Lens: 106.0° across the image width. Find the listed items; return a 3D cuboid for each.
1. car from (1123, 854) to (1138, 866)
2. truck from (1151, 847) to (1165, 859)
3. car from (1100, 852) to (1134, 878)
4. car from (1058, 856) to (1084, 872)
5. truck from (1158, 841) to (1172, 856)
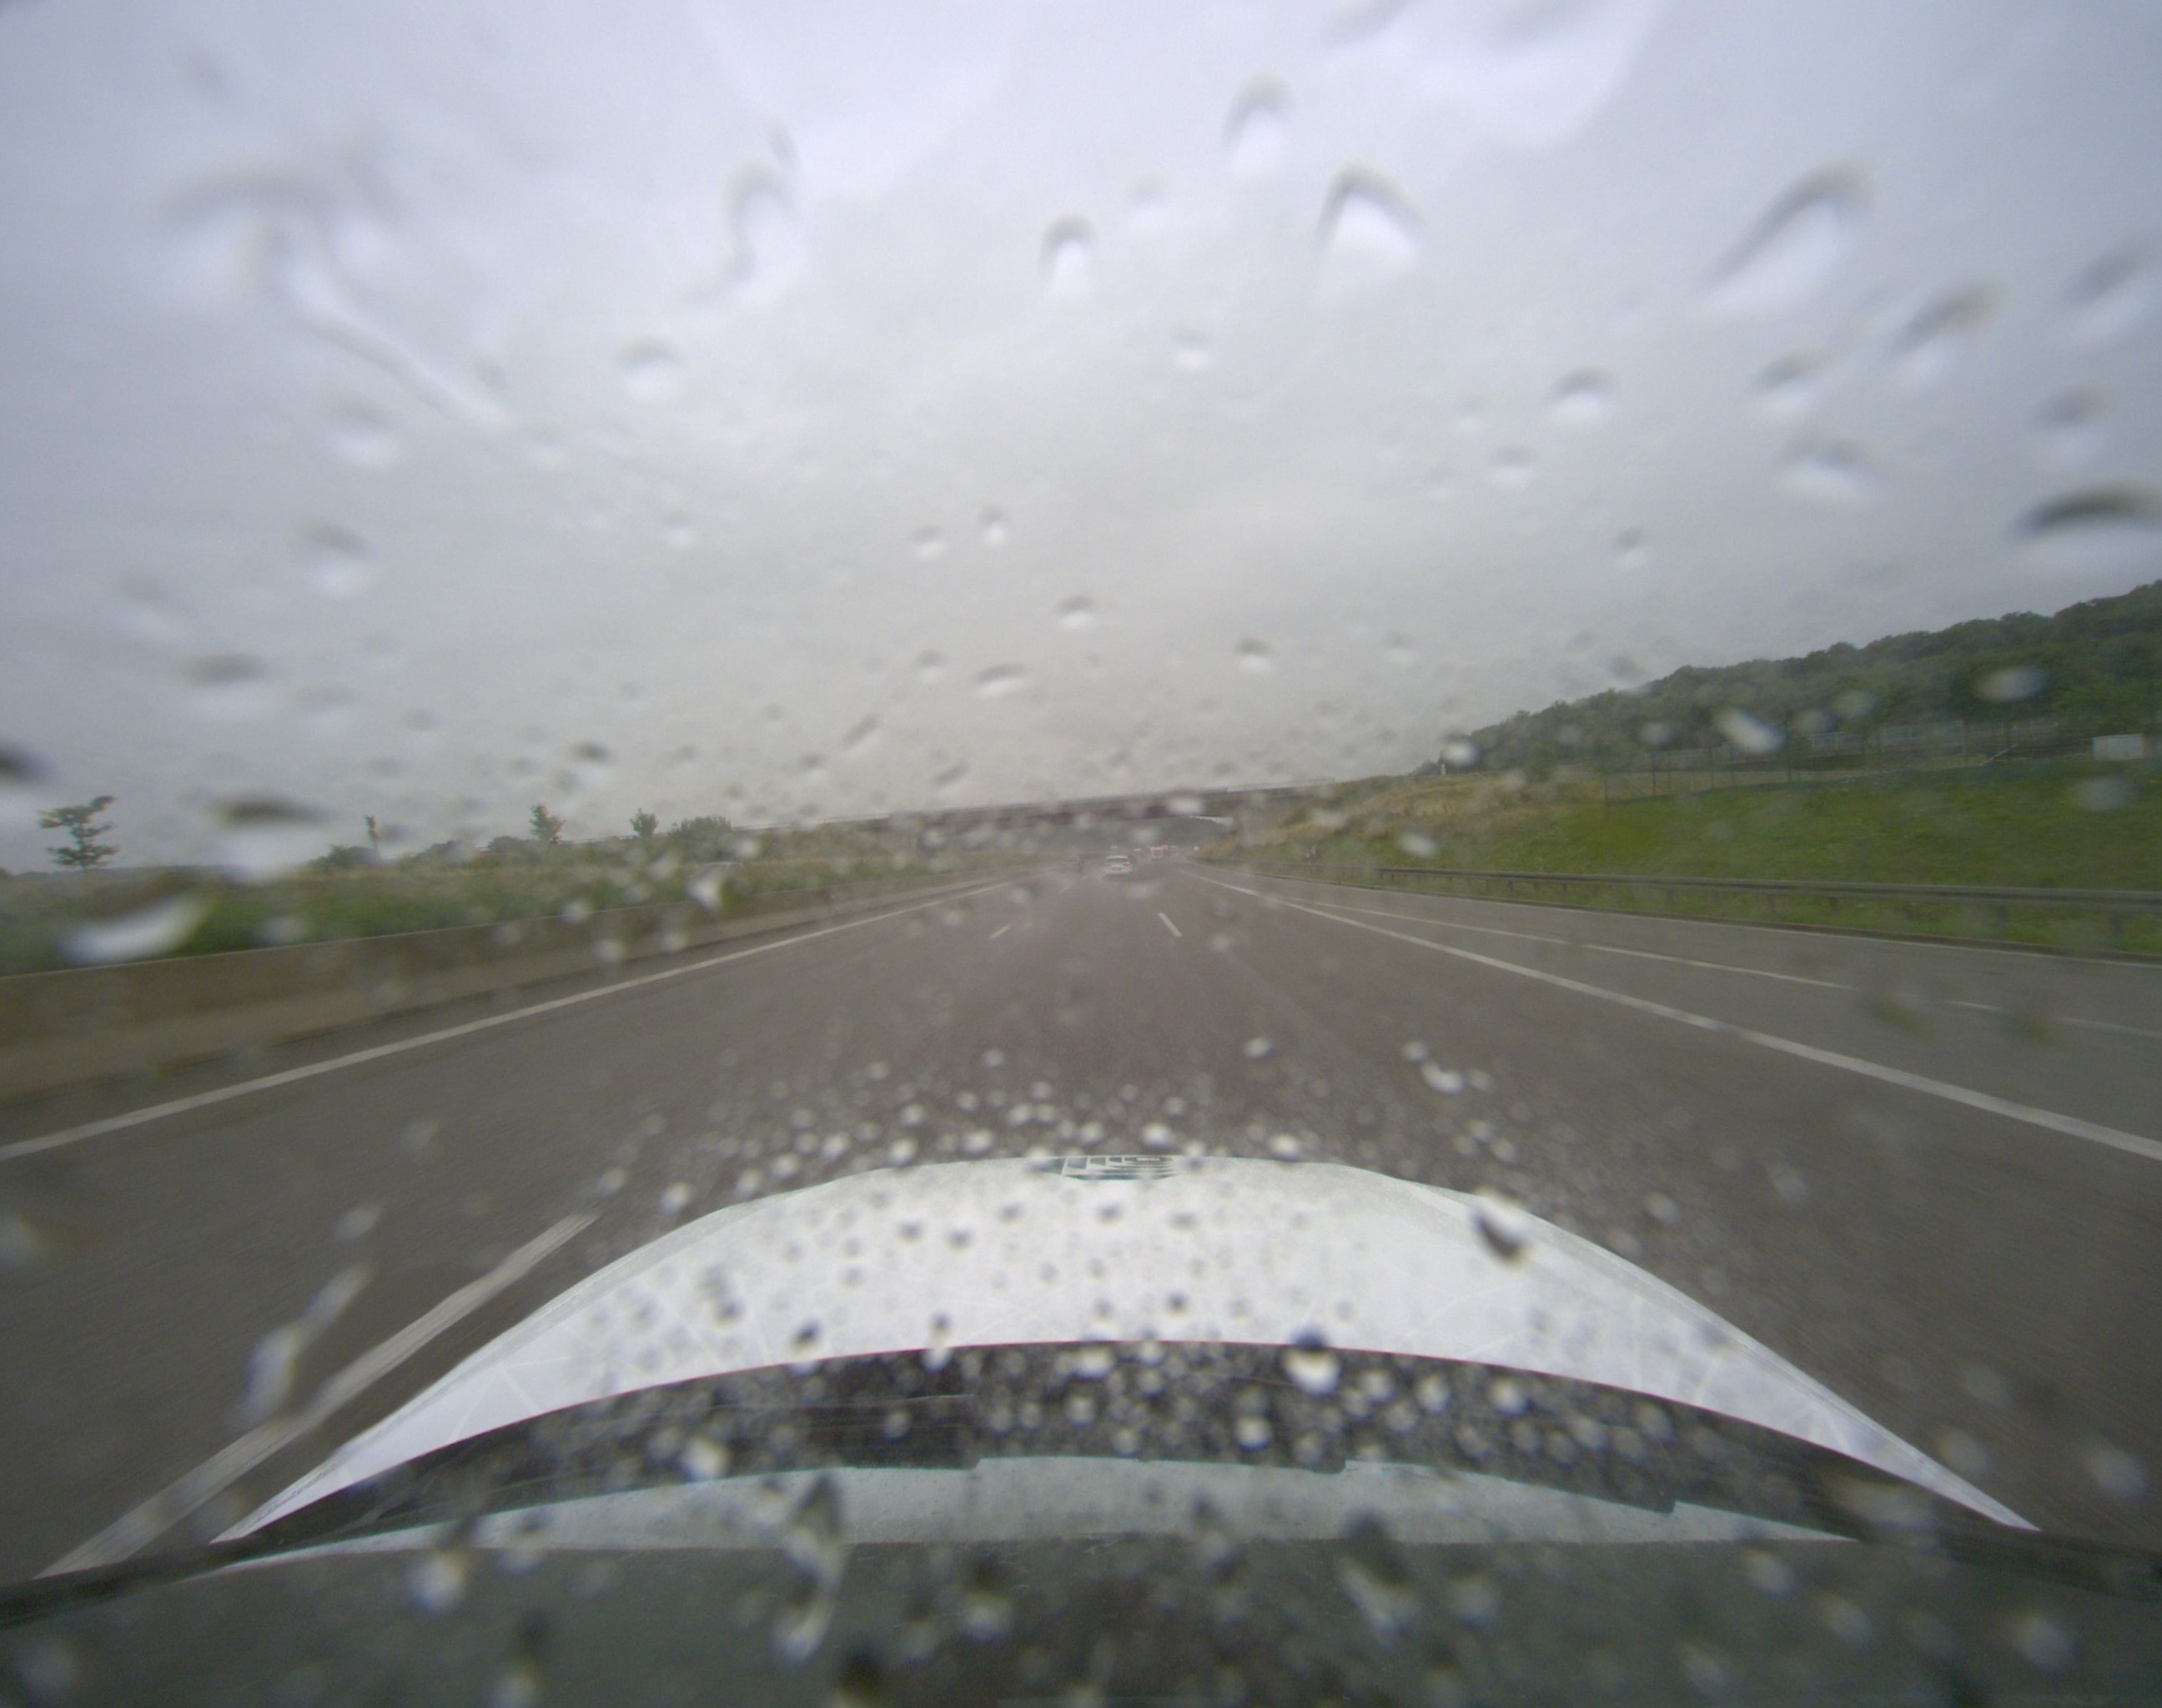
[{"bbox_3d":[7.028,0.782,114.958,1.983,1.618,4.007,-1,0,6],"label":"car"},{"bbox_3d":[14.850,-0.153,157.346,2.394,2.252,4.703,-1,0,8],"label":"truck"},{"bbox_3d":[2.121,0.628,48.694,1.861,1.463,3.999,-1,-1,0],"label":"car"},{"bbox_3d":[-0.750,0.781,62.771,1.817,1.156,4.214,0,-1,1],"label":"car"},{"bbox_3d":[21.438,-1.540,208.872,3.510,3.742,11.443,-1,1,5],"label":"truck"}]
